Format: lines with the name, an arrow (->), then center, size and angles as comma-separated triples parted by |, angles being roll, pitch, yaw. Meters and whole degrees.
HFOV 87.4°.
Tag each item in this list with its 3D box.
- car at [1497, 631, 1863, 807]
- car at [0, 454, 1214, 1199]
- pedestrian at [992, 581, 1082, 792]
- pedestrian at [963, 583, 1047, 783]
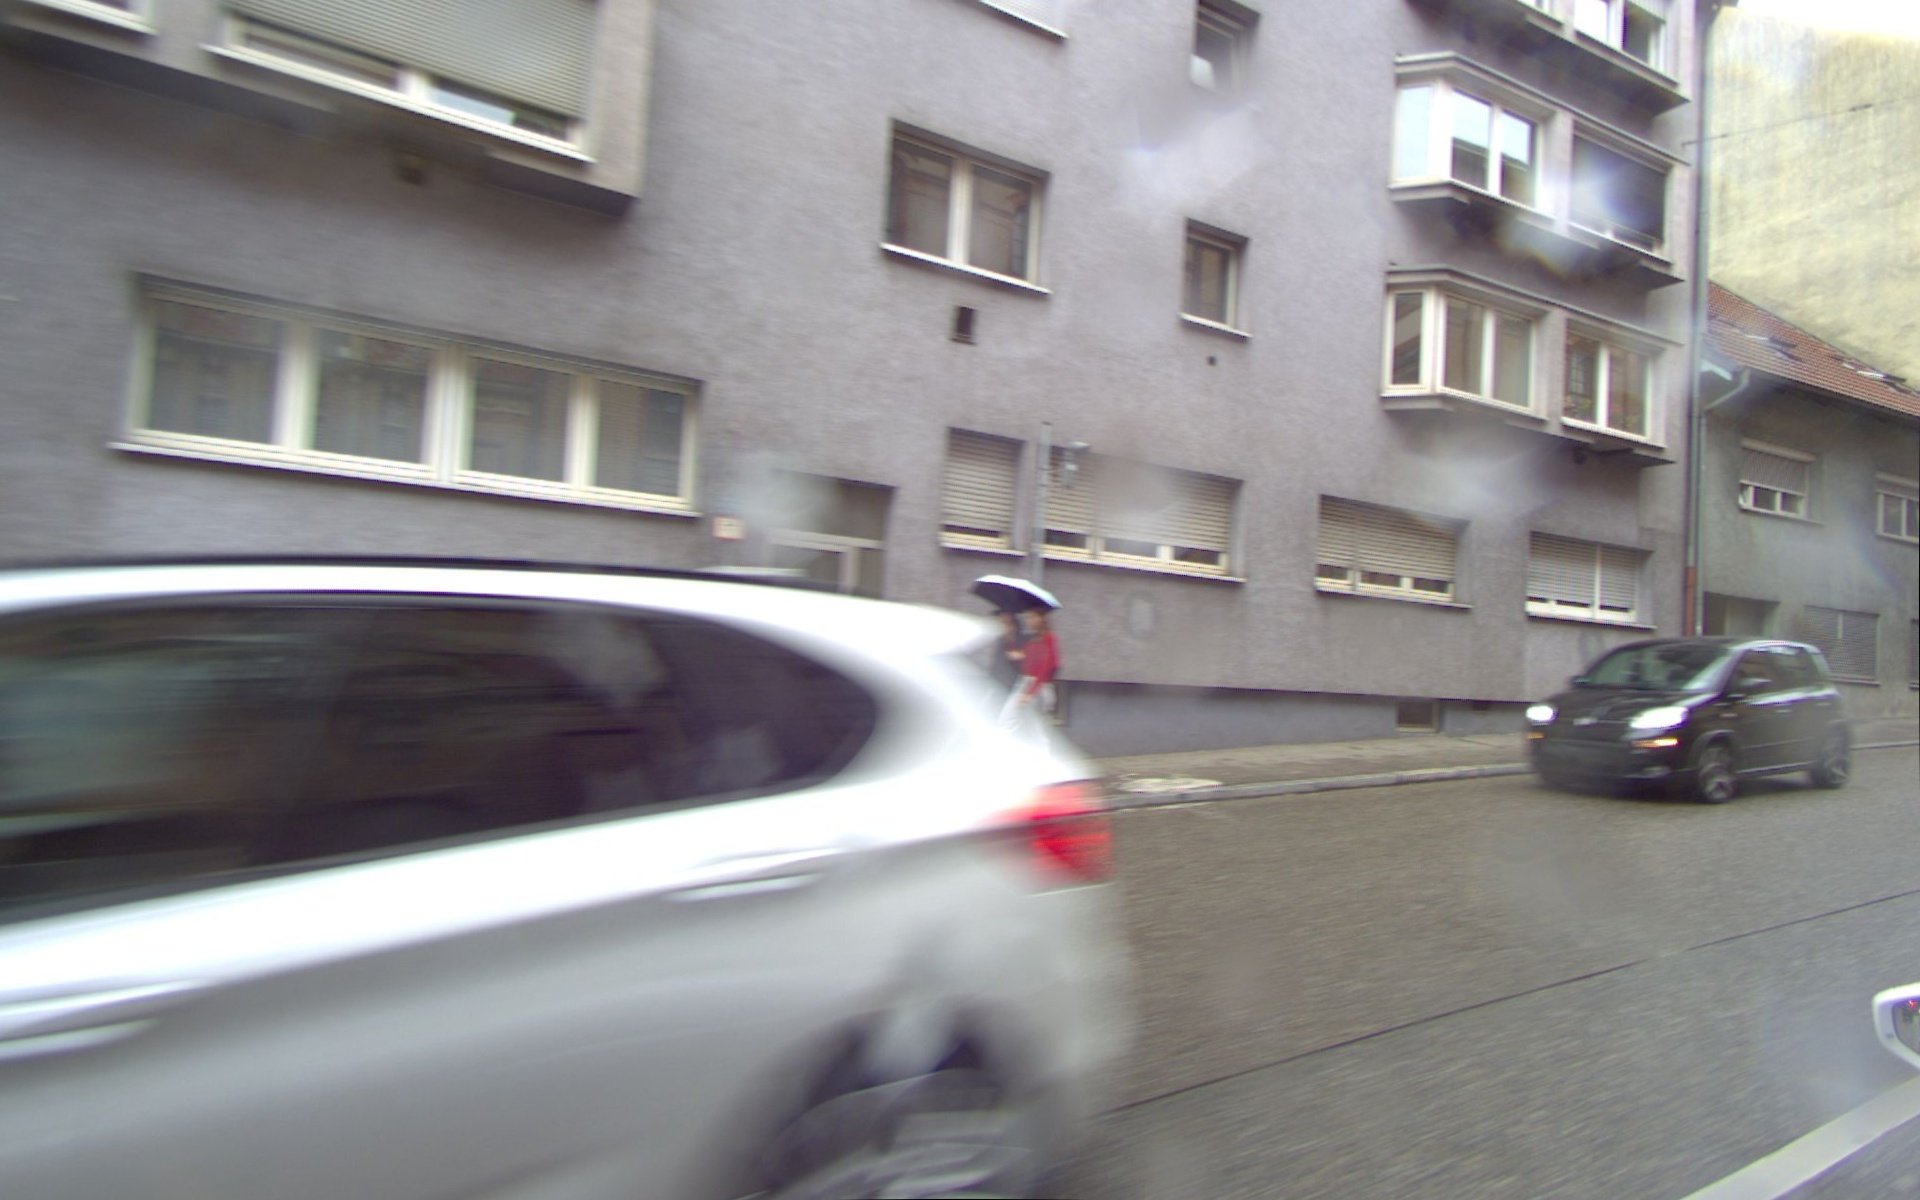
car -> 7.300, 1.098, 10.193 | 3.332, 1.516, 1.639 | 1, -3, -27
car -> -1.578, 0.639, 2.018 | 3.989, 1.597, 1.756 | 2, -2, -31
pedestrian -> 0.683, 0.746, 8.969 | 0.615, 1.799, 0.520 | 1, -2, -30
pedestrian -> 0.420, 0.756, 9.442 | 0.615, 1.799, 0.520 | 1, -2, -30
